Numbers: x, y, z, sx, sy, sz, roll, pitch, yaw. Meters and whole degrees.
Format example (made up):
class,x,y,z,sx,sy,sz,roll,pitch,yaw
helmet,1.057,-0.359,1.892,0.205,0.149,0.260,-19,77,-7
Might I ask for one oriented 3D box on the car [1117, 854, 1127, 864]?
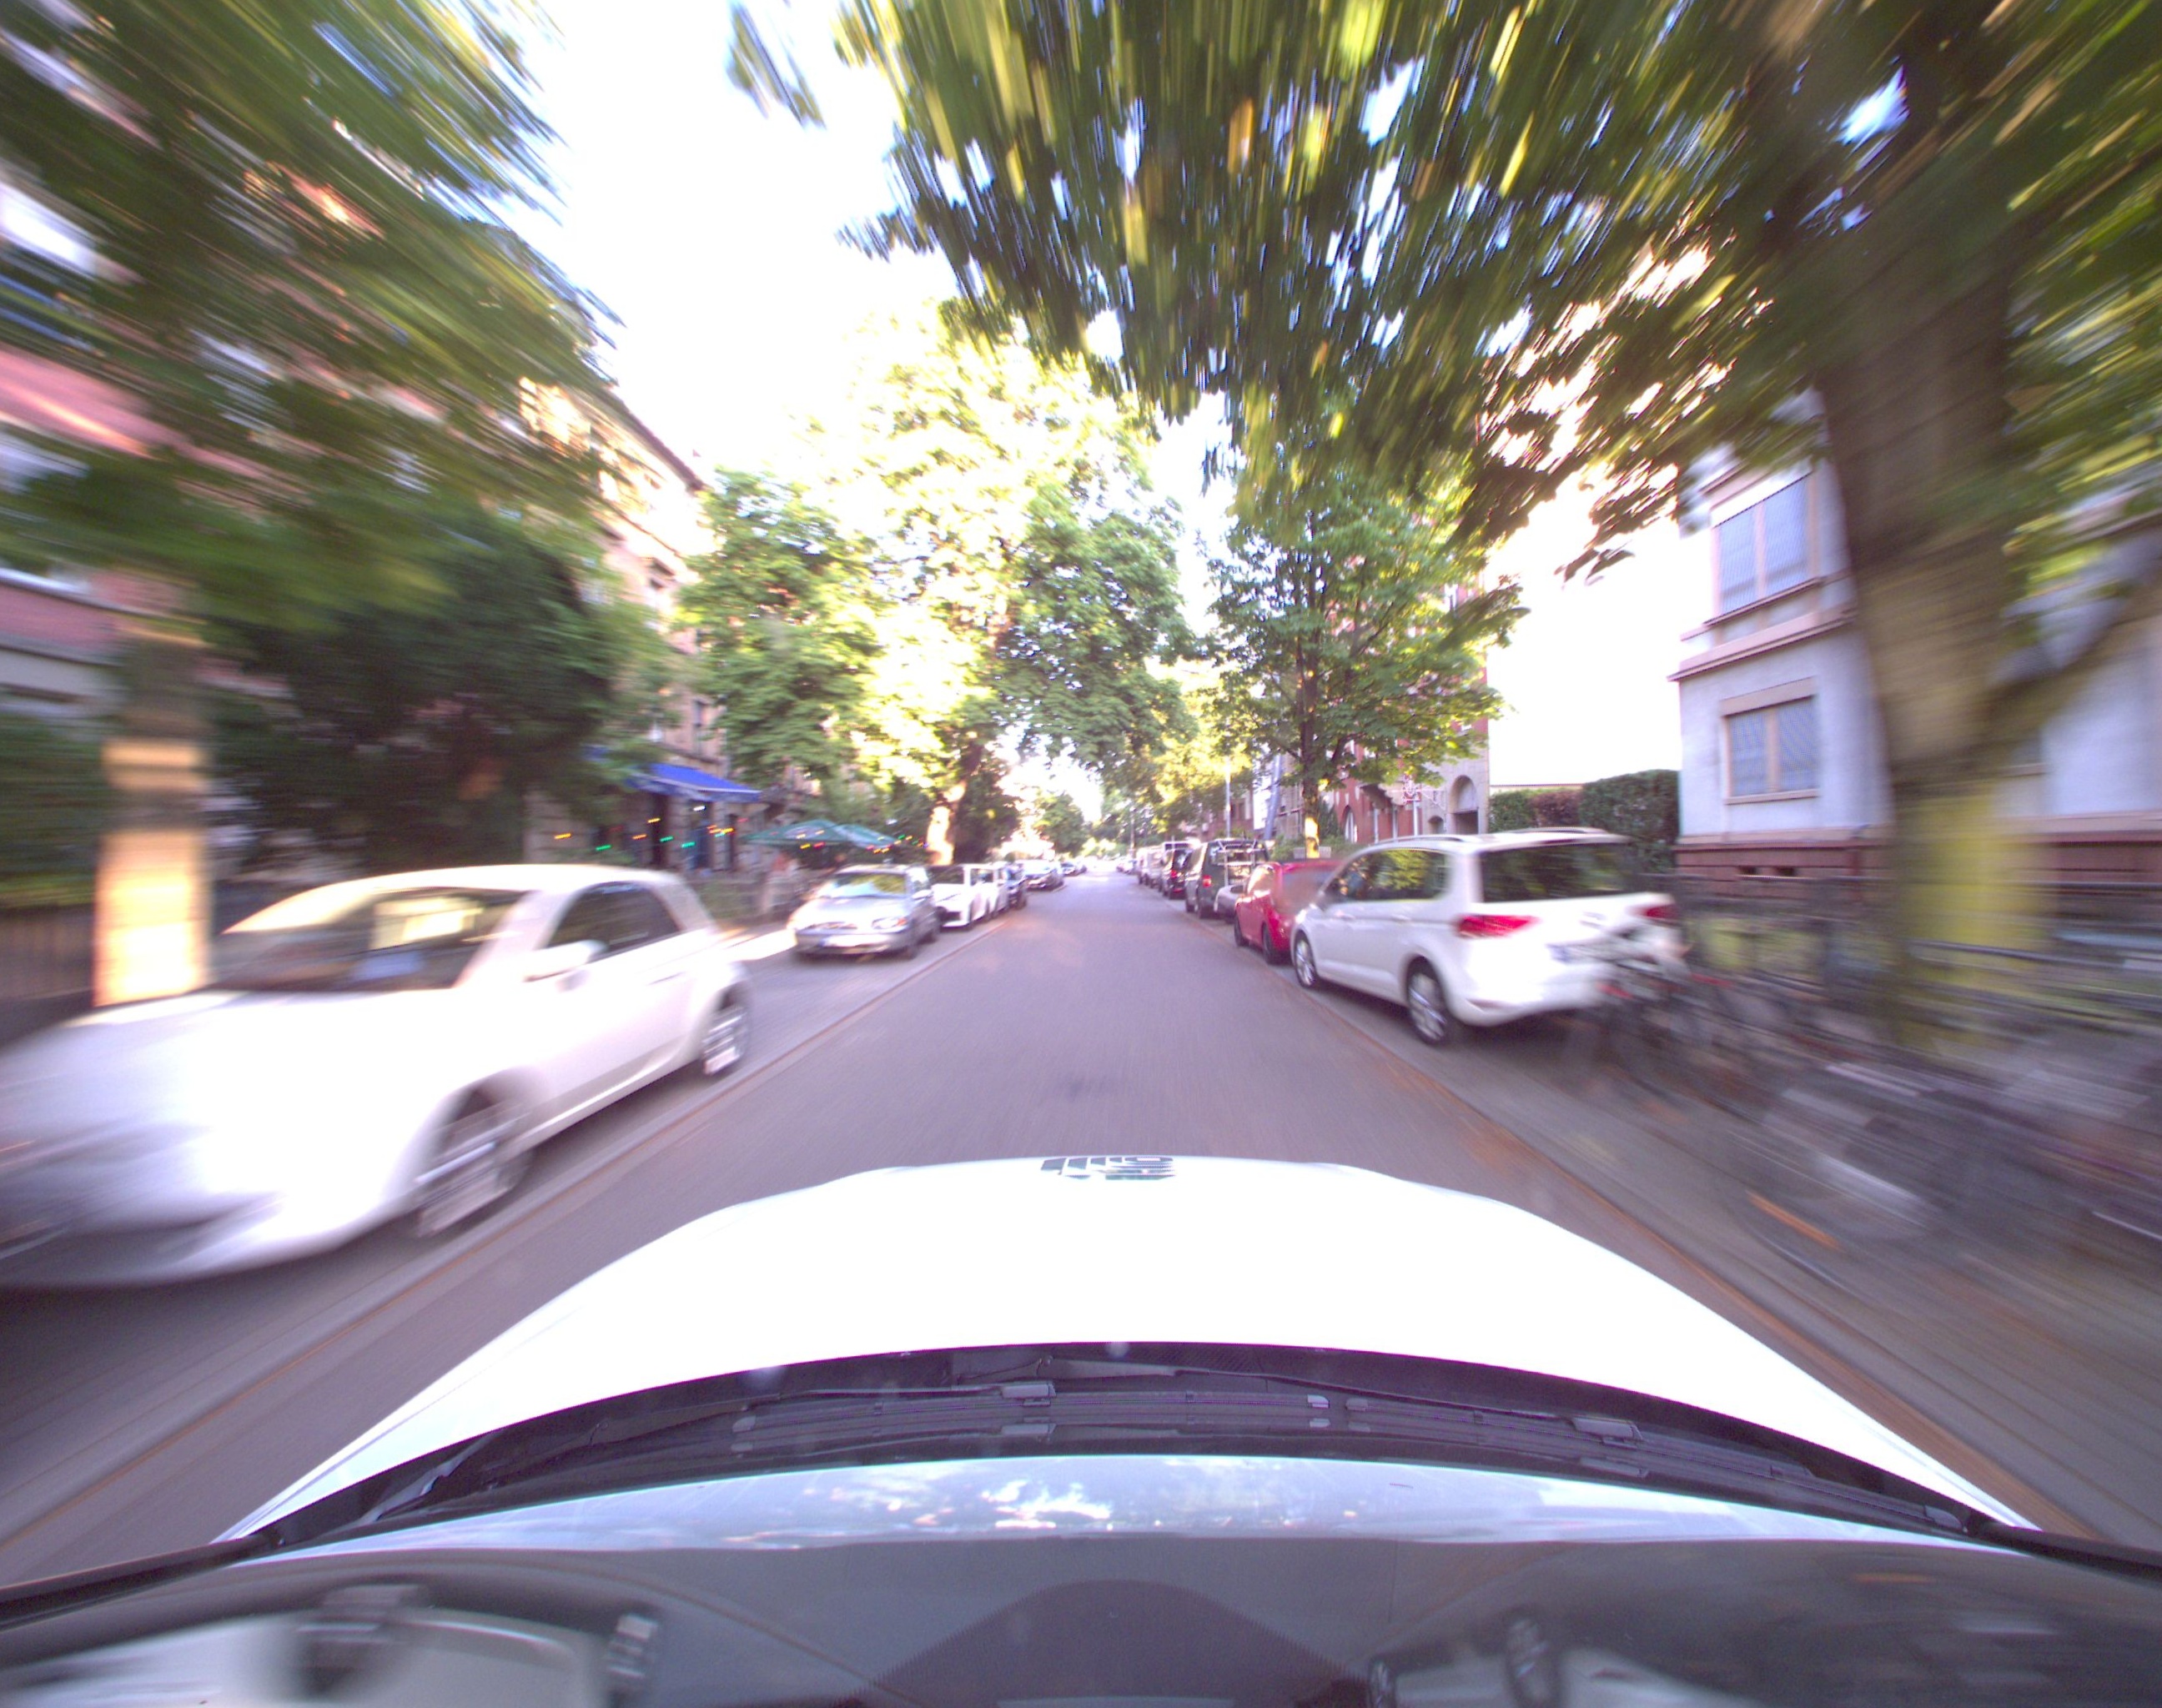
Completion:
class,x,y,z,sx,sy,sz,roll,pitch,yaw
car,6.726,0.819,133.727,1.534,1.521,3.430,0,-1,-1

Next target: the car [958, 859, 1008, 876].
class,x,y,z,sx,sy,sz,roll,pitch,yaw
car,-8.746,1.202,72.913,4.067,1.447,1.714,0,0,10

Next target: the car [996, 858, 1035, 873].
class,x,y,z,sx,sy,sz,roll,pitch,yaw
car,-7.239,1.282,90.064,4.079,1.527,1.709,2,0,0

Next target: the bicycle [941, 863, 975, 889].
class,x,y,z,sx,sy,sz,roll,pitch,yaw
bicycle,-6.533,1.146,43.356,0.600,1.284,2.499,-2,-1,21

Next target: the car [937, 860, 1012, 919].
class,x,y,z,sx,sy,sz,roll,pitch,yaw
car,-2.985,0.950,23.519,1.546,1.485,3.695,2,0,1

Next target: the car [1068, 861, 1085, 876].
class,x,y,z,sx,sy,sz,roll,pitch,yaw
car,-0.546,1.737,98.977,1.914,1.717,4.429,0,0,1

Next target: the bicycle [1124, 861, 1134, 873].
class,x,y,z,sx,sy,sz,roll,pitch,yaw
bicycle,5.004,1.350,84.847,0.439,1.173,1.646,-1,-1,26

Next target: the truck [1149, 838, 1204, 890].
class,x,y,z,sx,sy,sz,roll,pitch,yaw
truck,4.492,0.445,38.944,1.948,2.246,4.643,-3,0,0

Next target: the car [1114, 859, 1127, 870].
class,x,y,z,sx,sy,sz,roll,pitch,yaw
car,5.654,1.488,116.395,1.682,1.606,3.937,0,-1,-1

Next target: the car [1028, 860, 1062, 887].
class,x,y,z,sx,sy,sz,roll,pitch,yaw
car,-2.065,1.136,48.221,1.683,1.502,4.403,-1,-1,1

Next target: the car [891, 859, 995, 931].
class,x,y,z,sx,sy,sz,roll,pitch,yaw
car,-3.105,0.879,19.061,1.597,1.435,3.887,2,0,2

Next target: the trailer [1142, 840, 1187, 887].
class,x,y,z,sx,sy,sz,roll,pitch,yaw
trailer,4.471,0.498,44.343,1.947,2.295,4.645,-3,0,1

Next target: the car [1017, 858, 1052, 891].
class,x,y,z,sx,sy,sz,roll,pitch,yaw
car,-2.388,1.016,42.840,1.685,1.563,4.399,2,0,-2

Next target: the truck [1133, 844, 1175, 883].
class,x,y,z,sx,sy,sz,roll,pitch,yaw
truck,4.520,0.623,51.430,1.971,2.244,6.773,-1,-1,-1

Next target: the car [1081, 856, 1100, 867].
class,x,y,z,sx,sy,sz,roll,pitch,yaw
car,2.117,1.697,180.153,4.336,2.318,1.745,0,0,-1

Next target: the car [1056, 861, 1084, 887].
class,x,y,z,sx,sy,sz,roll,pitch,yaw
car,-0.729,1.270,53.261,1.685,1.502,4.734,2,0,-2

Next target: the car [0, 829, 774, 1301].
class,x,y,z,sx,sy,sz,roll,pitch,yaw
car,-3.271,0.676,4.493,1.658,1.493,3.710,2,0,0

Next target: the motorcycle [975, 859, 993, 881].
class,x,y,z,sx,sy,sz,roll,pitch,yaw
motorcycle,-5.637,0.914,47.539,0.580,1.156,2.893,2,1,2

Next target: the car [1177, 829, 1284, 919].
class,x,y,z,sx,sy,sz,roll,pitch,yaw
car,3.849,0.464,21.869,1.947,2.059,4.831,-3,0,1

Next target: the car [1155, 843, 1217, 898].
class,x,y,z,sx,sy,sz,roll,pitch,yaw
car,4.115,0.619,32.650,1.833,1.942,4.613,-3,0,0

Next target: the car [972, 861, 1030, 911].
class,x,y,z,sx,sy,sz,roll,pitch,yaw
car,-2.649,1.030,27.640,1.546,1.485,3.693,-1,0,0

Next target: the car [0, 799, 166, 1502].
class,x,y,z,sx,sy,sz,roll,pitch,yaw
car,-3.383,0.685,0.309,1.659,1.677,3.846,2,0,0

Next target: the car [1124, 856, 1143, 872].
class,x,y,z,sx,sy,sz,roll,pitch,yaw
car,5.981,1.132,94.013,1.793,1.711,4.598,-1,-1,-1

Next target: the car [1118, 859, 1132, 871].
class,x,y,z,sx,sy,sz,roll,pitch,yaw
car,5.848,1.493,109.155,1.681,1.441,4.210,-3,-1,1

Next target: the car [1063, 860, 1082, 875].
class,x,y,z,sx,sy,sz,roll,pitch,yaw
car,-0.800,1.371,82.789,1.609,1.470,3.965,0,0,4

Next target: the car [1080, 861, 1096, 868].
class,x,y,z,sx,sy,sz,roll,pitch,yaw
car,1.521,2.187,177.483,3.610,1.461,1.605,0,0,-3

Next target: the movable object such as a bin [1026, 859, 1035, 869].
class,x,y,z,sx,sy,sz,roll,pitch,yaw
movable object such as a bin,-6.587,1.313,105.936,1.007,1.321,1.007,1,0,6

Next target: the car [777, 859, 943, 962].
class,x,y,z,sx,sy,sz,roll,pitch,yaw
car,-3.508,0.812,13.818,1.836,1.411,4.594,0,0,-4

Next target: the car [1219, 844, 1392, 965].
class,x,y,z,sx,sy,sz,roll,pitch,yaw
car,3.267,0.656,12.560,1.658,1.500,3.695,-3,0,1

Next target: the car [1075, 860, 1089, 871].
class,x,y,z,sx,sy,sz,roll,pitch,yaw
car,0.155,1.560,111.669,1.709,1.566,3.789,0,0,1

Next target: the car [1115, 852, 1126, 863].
class,x,y,z,sx,sy,sz,roll,pitch,yaw
car,6.622,0.590,137.711,1.675,1.941,3.878,0,-1,-1

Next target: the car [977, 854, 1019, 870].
class,x,y,z,sx,sy,sz,roll,pitch,yaw
car,-7.943,0.749,78.085,3.541,1.447,1.823,0,0,10

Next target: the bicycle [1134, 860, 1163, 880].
class,x,y,z,sx,sy,sz,roll,pitch,yaw
bicycle,4.714,1.124,56.991,1.899,1.258,0.406,-3,-1,-5

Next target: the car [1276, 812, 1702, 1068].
class,x,y,z,sx,sy,sz,roll,pitch,yaw
car,3.358,0.588,7.731,1.661,1.678,4.113,-3,0,-5
